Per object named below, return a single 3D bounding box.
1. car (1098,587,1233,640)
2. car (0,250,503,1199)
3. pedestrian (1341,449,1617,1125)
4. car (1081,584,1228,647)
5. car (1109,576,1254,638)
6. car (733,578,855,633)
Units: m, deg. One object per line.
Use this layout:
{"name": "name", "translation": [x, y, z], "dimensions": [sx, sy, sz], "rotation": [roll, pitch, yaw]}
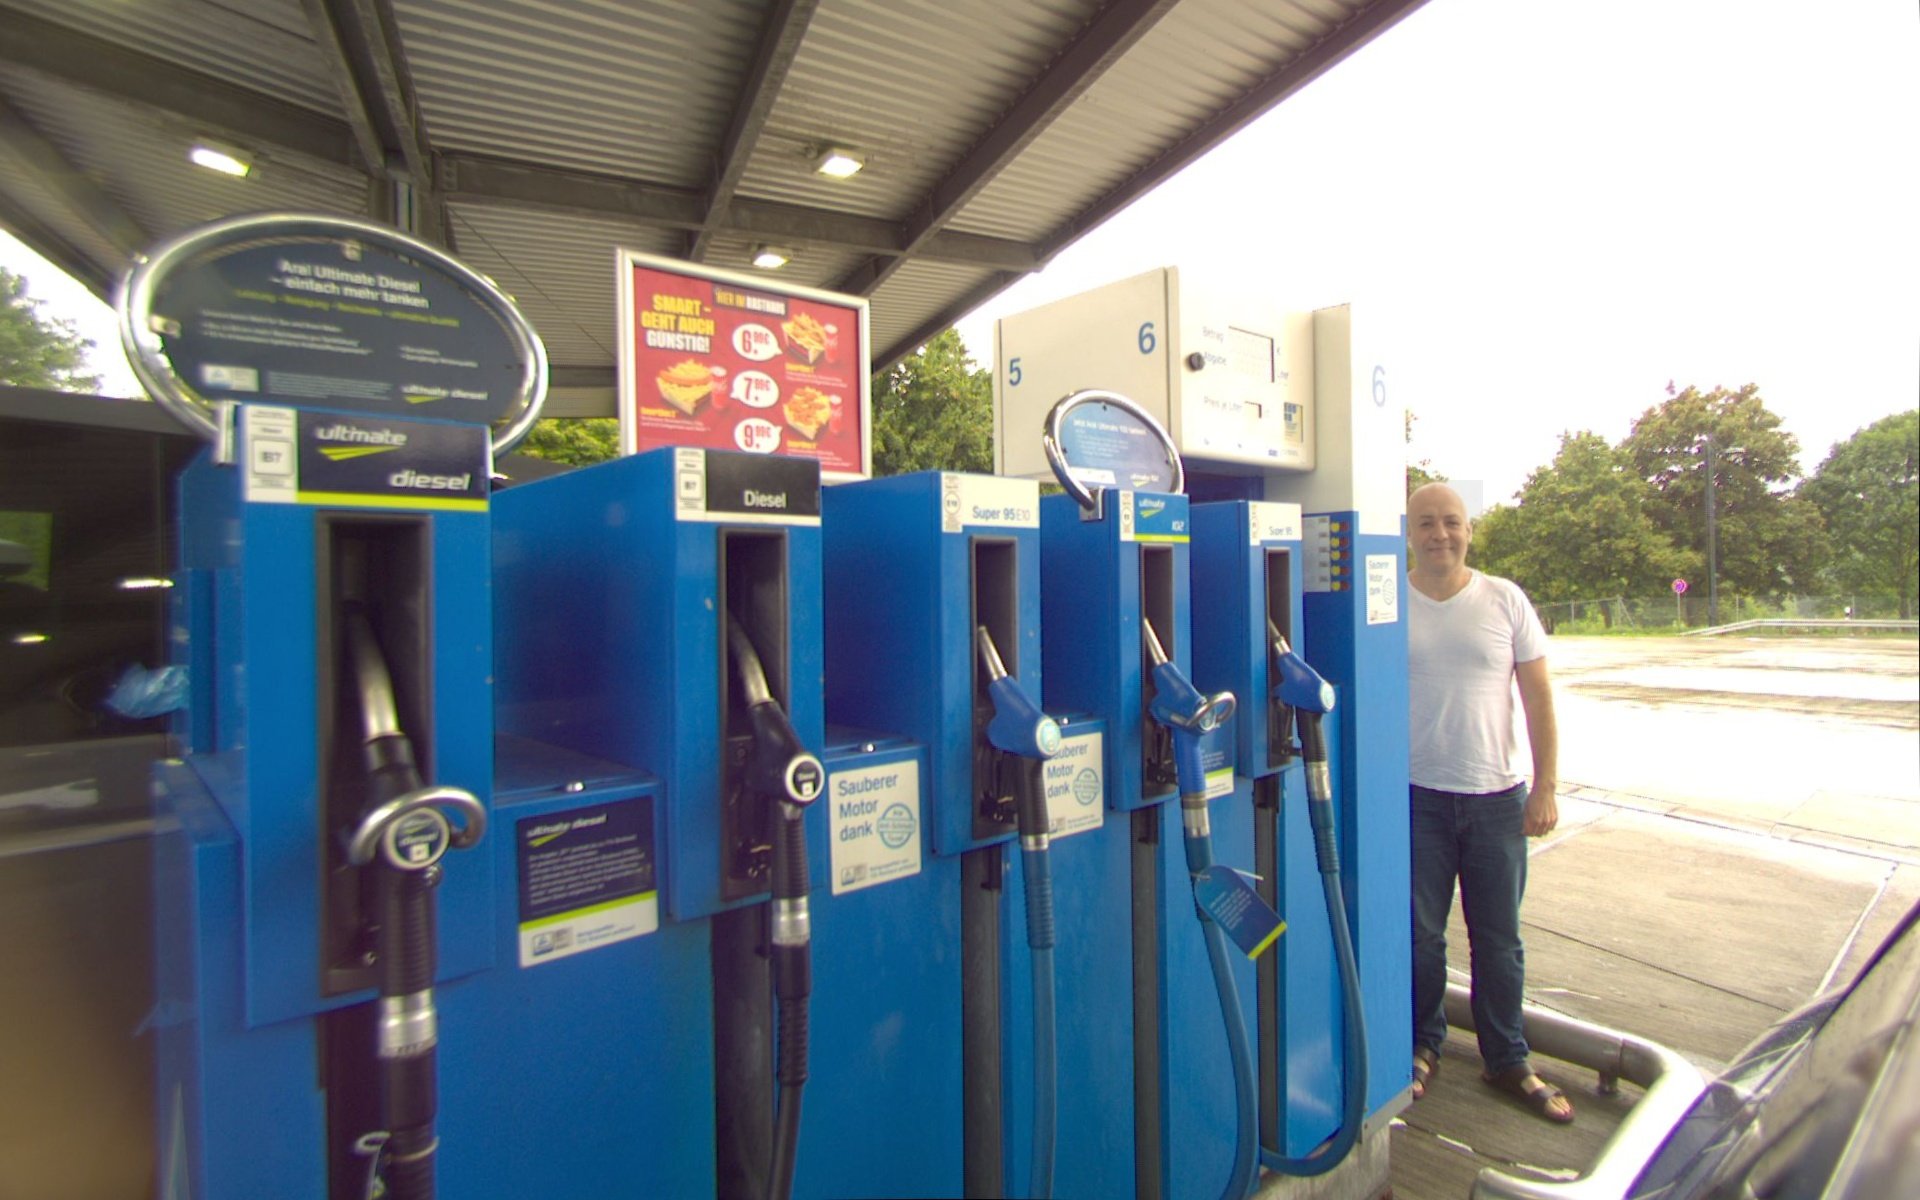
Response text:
{"name": "car", "translation": [6.607, 0.395, 32.399], "dimensions": [4.123, 1.576, 1.990], "rotation": [1, 0, 17]}
{"name": "car", "translation": [-3.018, 0.426, 1.490], "dimensions": [3.930, 1.973, 1.819], "rotation": [0, 0, -41]}
{"name": "pedestrian", "translation": [1.525, 0.505, 3.057], "dimensions": [0.625, 1.832, 0.492], "rotation": [-1, 1, 15]}
{"name": "car", "translation": [5.800, 0.419, 29.981], "dimensions": [4.123, 1.752, 1.990], "rotation": [0, 0, 17]}
{"name": "car", "translation": [7.527, 0.210, 34.594], "dimensions": [4.700, 2.011, 2.007], "rotation": [0, 0, 14]}
{"name": "car", "translation": [-5.540, 0.148, 33.467], "dimensions": [1.967, 1.683, 4.170], "rotation": [0, 0, -44]}
